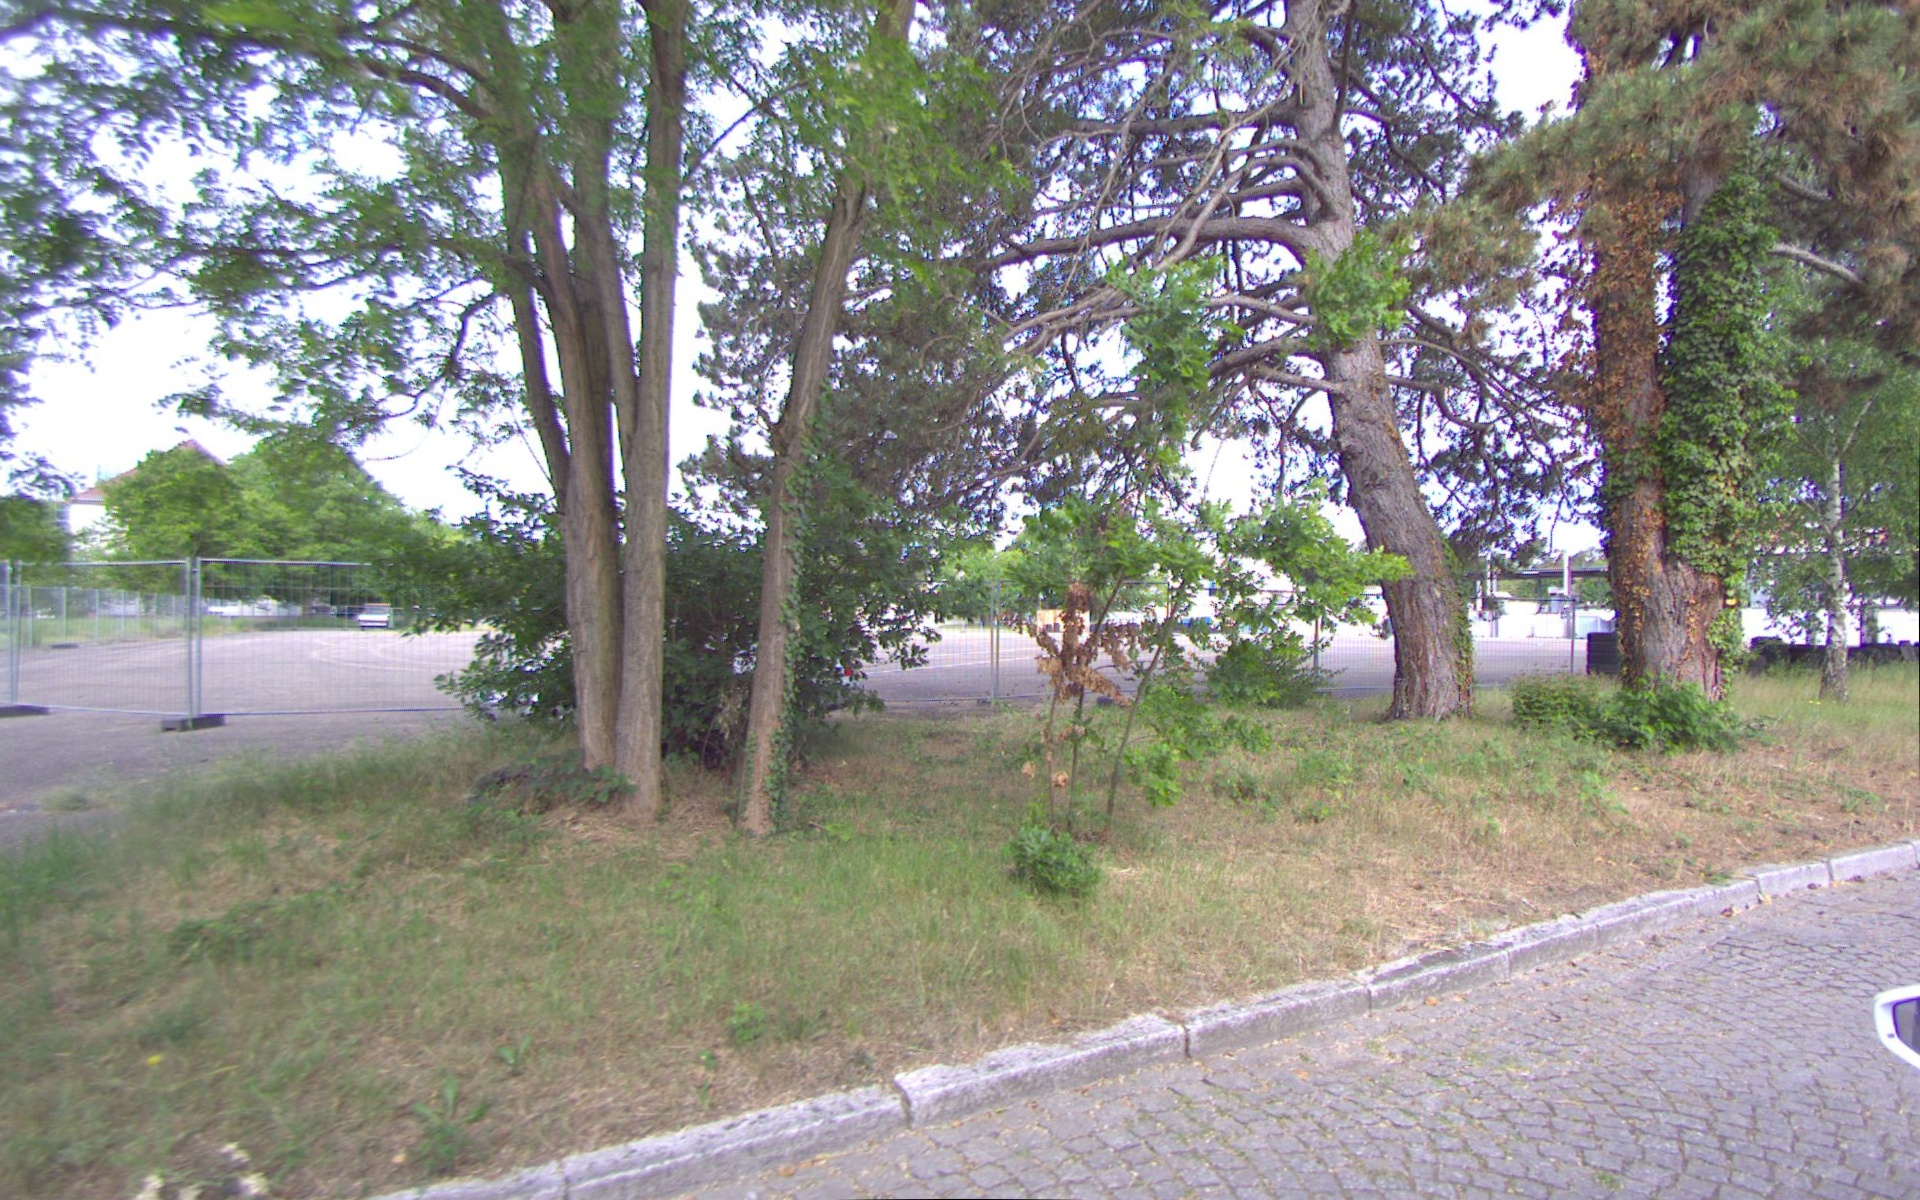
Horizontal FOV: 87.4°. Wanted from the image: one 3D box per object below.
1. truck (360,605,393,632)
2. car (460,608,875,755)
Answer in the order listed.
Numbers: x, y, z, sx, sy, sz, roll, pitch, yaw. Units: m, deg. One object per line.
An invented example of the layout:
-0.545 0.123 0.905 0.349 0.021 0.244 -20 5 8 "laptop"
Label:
-51.383 1.625 88.516 2.345 2.227 6.505 1 -1 -29 "truck"
-3.351 0.847 11.830 4.417 1.457 1.706 1 -1 -32 "car"
